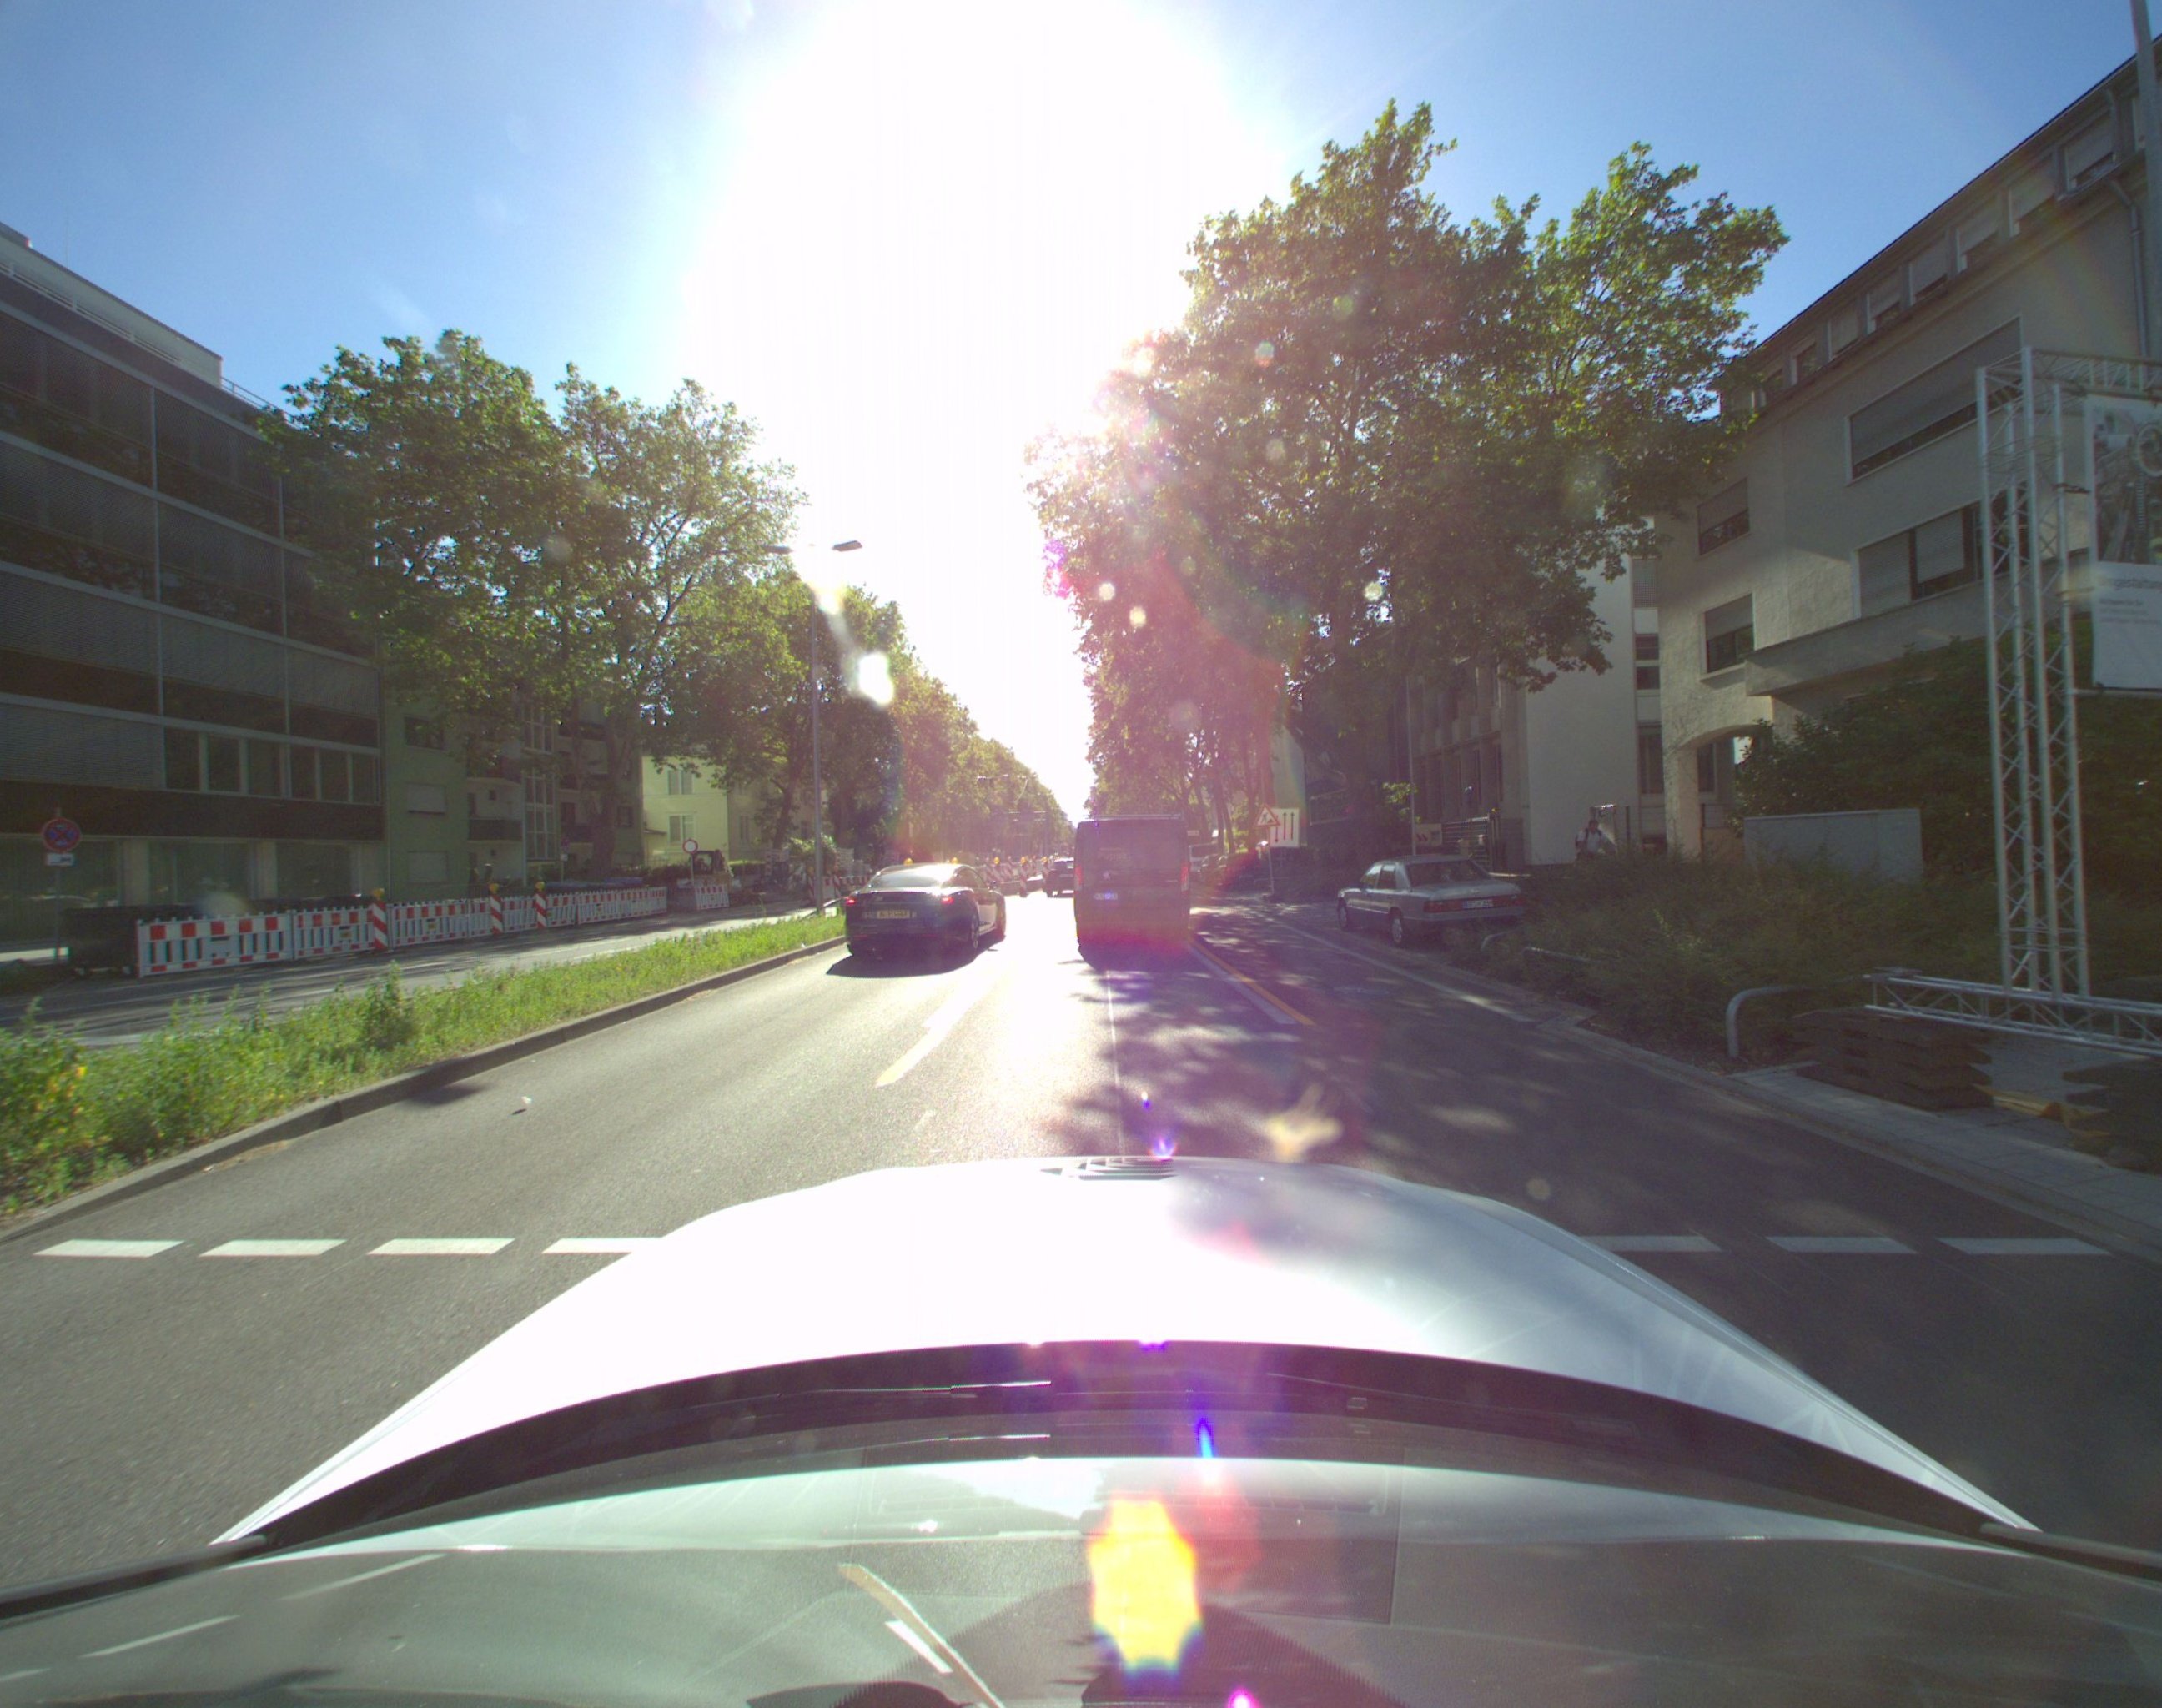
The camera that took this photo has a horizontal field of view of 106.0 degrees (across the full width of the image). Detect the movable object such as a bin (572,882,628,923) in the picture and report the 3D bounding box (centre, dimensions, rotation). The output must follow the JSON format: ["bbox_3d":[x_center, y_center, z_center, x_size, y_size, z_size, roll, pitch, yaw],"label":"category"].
[{"bbox_3d":[-16.512,1.647,28.006,0.976,1.271,1.541,-2,0,1],"label":"movable object such as a bin"}]

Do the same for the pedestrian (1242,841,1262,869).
[{"bbox_3d":[9.826,0.053,46.850,0.726,1.602,1.265,-2,0,-4],"label":"pedestrian"}]

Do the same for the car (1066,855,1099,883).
[{"bbox_3d":[0.058,0.796,44.167,1.544,1.425,3.550,-2,0,-4],"label":"car"}]

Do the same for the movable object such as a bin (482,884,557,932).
[{"bbox_3d":[-16.919,1.623,24.587,1.404,1.338,1.158,-2,0,3],"label":"movable object such as a bin"}]

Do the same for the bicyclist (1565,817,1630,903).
[{"bbox_3d":[11.377,0.128,17.972,0.721,1.820,1.071,-2,0,2],"label":"bicyclist"}]

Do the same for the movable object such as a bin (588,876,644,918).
[{"bbox_3d":[-16.989,1.551,29.833,1.638,1.423,1.253,-2,0,-25],"label":"movable object such as a bin"}]

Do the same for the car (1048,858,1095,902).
[{"bbox_3d":[-0.380,0.981,32.364,1.741,1.407,4.000,-1,3,-1],"label":"car"}]

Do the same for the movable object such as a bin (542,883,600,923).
[{"bbox_3d":[-17.525,1.659,28.018,0.976,1.271,1.541,-2,0,1],"label":"movable object such as a bin"}]

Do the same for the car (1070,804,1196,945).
[{"bbox_3d":[0.954,0.324,15.787,2.087,2.355,3.935,-1,0,2],"label":"car"}]

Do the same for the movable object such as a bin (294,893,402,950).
[{"bbox_3d":[-17.351,1.581,19.320,1.388,1.203,1.243,-2,0,4],"label":"movable object such as a bin"}]

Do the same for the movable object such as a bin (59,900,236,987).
[{"bbox_3d":[-17.382,1.632,15.245,1.109,1.388,1.857,-2,0,3],"label":"movable object such as a bin"}]

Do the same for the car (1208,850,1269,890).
[{"bbox_3d":[6.441,0.609,33.685,1.757,1.508,4.252,-2,0,1],"label":"car"}]

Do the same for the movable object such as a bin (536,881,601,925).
[{"bbox_3d":[-16.796,1.593,26.706,1.404,1.338,1.069,-2,0,2],"label":"movable object such as a bin"}]

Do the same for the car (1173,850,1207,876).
[{"bbox_3d":[6.820,0.530,51.113,1.740,1.477,4.104,-3,0,3],"label":"car"}]

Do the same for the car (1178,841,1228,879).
[{"bbox_3d":[6.720,0.308,45.366,2.019,1.946,5.273,-2,0,1],"label":"car"}]

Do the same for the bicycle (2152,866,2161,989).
[{"bbox_3d":[8.519,0.613,5.715,0.581,1.005,2.145,-2,0,36],"label":"bicycle"}]

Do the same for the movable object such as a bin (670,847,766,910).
[{"bbox_3d":[-16.849,1.077,38.130,2.141,2.706,5.351,-2,0,-2],"label":"movable object such as a bin"}]

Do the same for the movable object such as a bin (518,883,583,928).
[{"bbox_3d":[-16.705,1.606,25.672,1.404,1.338,0.936,-2,0,3],"label":"movable object such as a bin"}]

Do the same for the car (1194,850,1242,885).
[{"bbox_3d":[6.461,0.599,38.677,1.651,1.540,4.129,-1,0,1],"label":"car"}]

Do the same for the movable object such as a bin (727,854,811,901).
[{"bbox_3d":[-16.819,1.196,44.312,1.985,2.278,5.604,-3,0,4],"label":"movable object such as a bin"}]

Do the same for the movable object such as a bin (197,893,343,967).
[{"bbox_3d":[-17.427,1.602,17.582,1.209,1.388,1.857,-2,0,3],"label":"movable object such as a bin"}]

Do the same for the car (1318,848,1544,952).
[{"bbox_3d":[5.877,0.673,14.458,1.846,1.479,4.941,-2,0,0],"label":"car"}]

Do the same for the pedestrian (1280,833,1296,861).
[{"bbox_3d":[12.259,-0.426,48.289,0.704,1.648,0.675,0,2,-2],"label":"pedestrian"}]

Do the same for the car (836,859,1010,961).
[{"bbox_3d":[-2.504,0.832,14.174,1.917,1.412,4.628,-2,0,2],"label":"car"}]
